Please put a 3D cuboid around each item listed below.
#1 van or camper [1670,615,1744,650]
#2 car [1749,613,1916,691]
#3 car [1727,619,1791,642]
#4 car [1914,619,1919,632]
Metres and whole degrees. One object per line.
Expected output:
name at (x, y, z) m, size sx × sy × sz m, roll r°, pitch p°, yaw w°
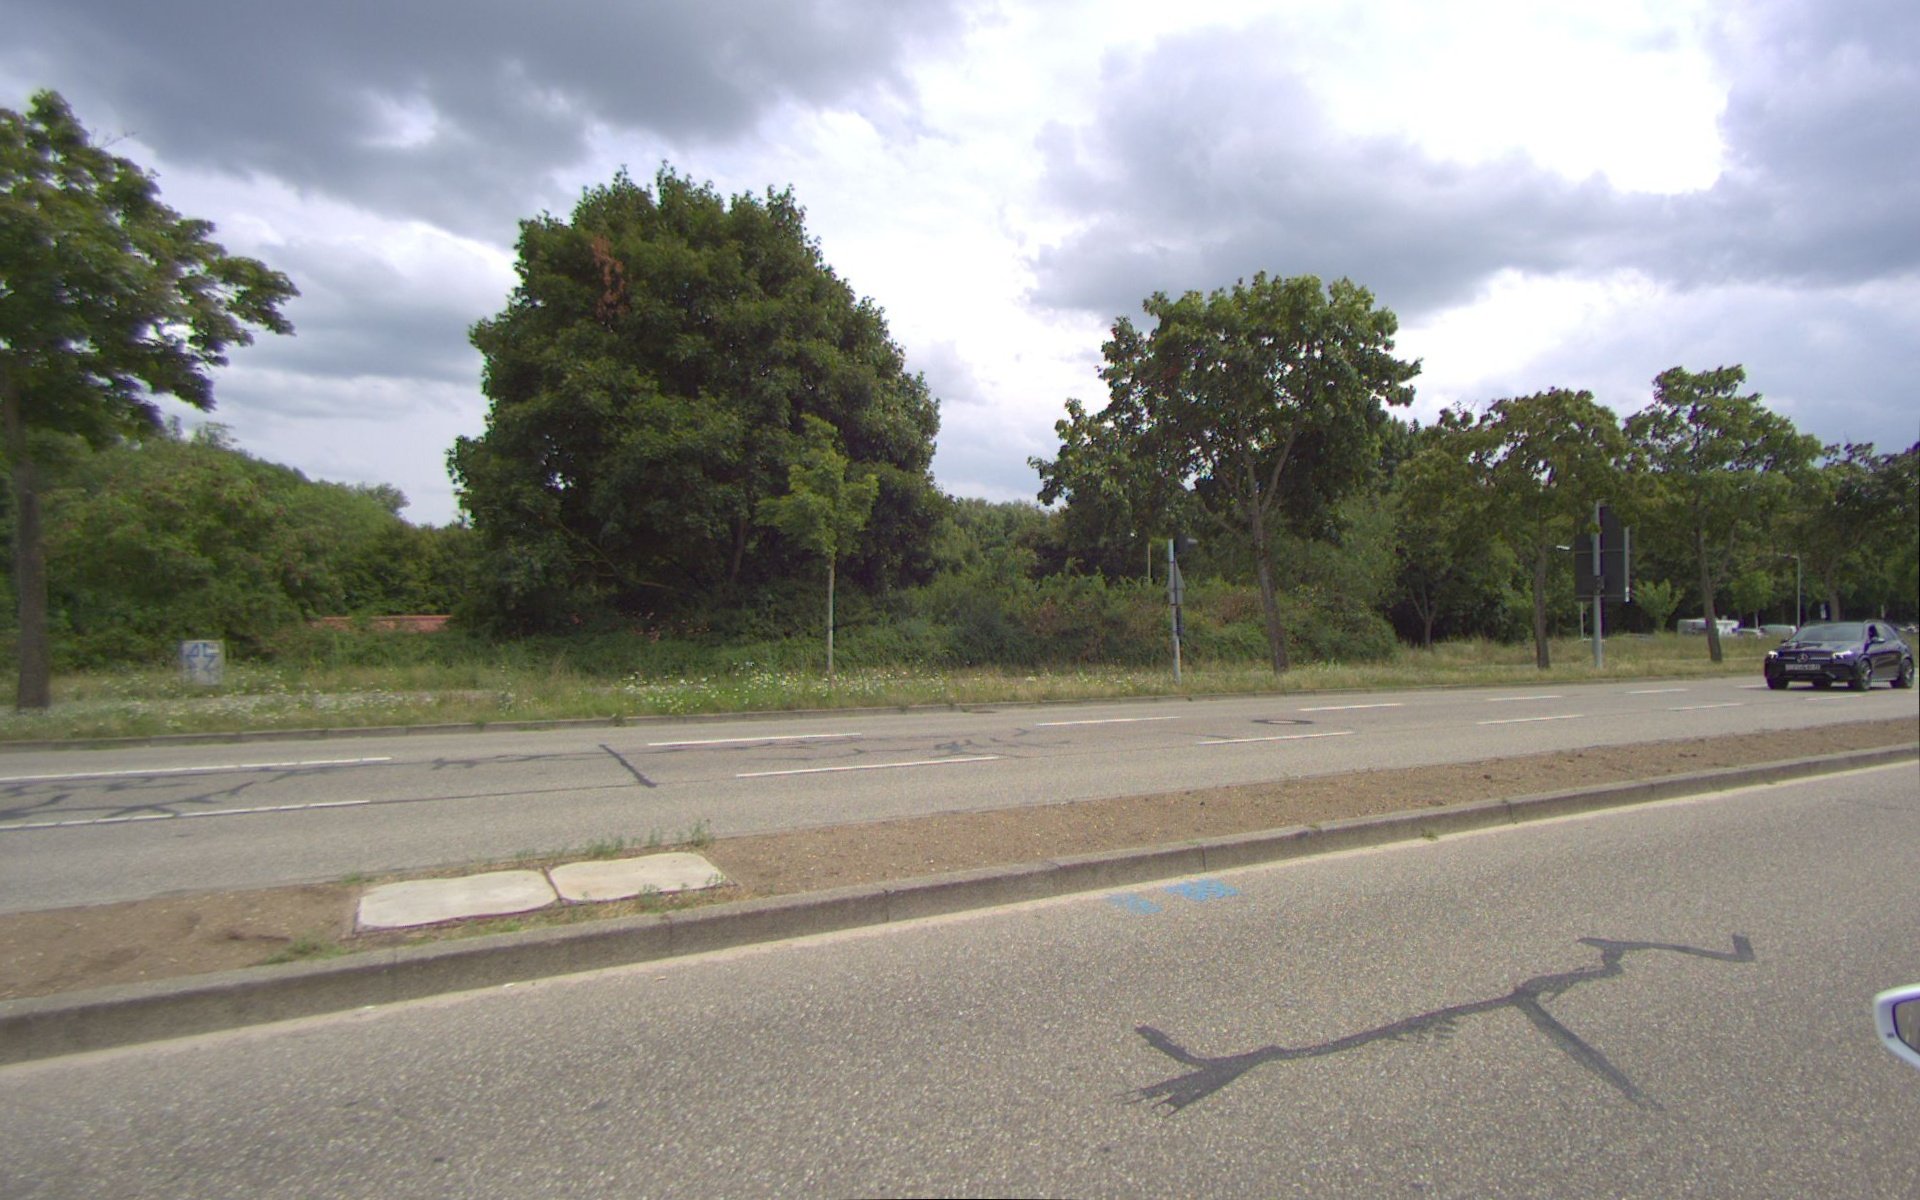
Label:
van or camper at (58.312, 2.466, 78.410) m, size 6.646 × 2.575 × 2.458 m, roll 0°, pitch 0°, yaw -33°
car at (22.879, 1.300, 26.305) m, size 4.744 × 1.835 × 1.983 m, roll 0°, pitch -1°, yaw -32°
car at (69.266, 2.651, 87.138) m, size 1.918 × 1.912 × 3.965 m, roll 0°, pitch 0°, yaw -32°
car at (117.674, 3.042, 121.064) m, size 1.860 × 1.539 × 3.632 m, roll 0°, pitch 0°, yaw -30°
